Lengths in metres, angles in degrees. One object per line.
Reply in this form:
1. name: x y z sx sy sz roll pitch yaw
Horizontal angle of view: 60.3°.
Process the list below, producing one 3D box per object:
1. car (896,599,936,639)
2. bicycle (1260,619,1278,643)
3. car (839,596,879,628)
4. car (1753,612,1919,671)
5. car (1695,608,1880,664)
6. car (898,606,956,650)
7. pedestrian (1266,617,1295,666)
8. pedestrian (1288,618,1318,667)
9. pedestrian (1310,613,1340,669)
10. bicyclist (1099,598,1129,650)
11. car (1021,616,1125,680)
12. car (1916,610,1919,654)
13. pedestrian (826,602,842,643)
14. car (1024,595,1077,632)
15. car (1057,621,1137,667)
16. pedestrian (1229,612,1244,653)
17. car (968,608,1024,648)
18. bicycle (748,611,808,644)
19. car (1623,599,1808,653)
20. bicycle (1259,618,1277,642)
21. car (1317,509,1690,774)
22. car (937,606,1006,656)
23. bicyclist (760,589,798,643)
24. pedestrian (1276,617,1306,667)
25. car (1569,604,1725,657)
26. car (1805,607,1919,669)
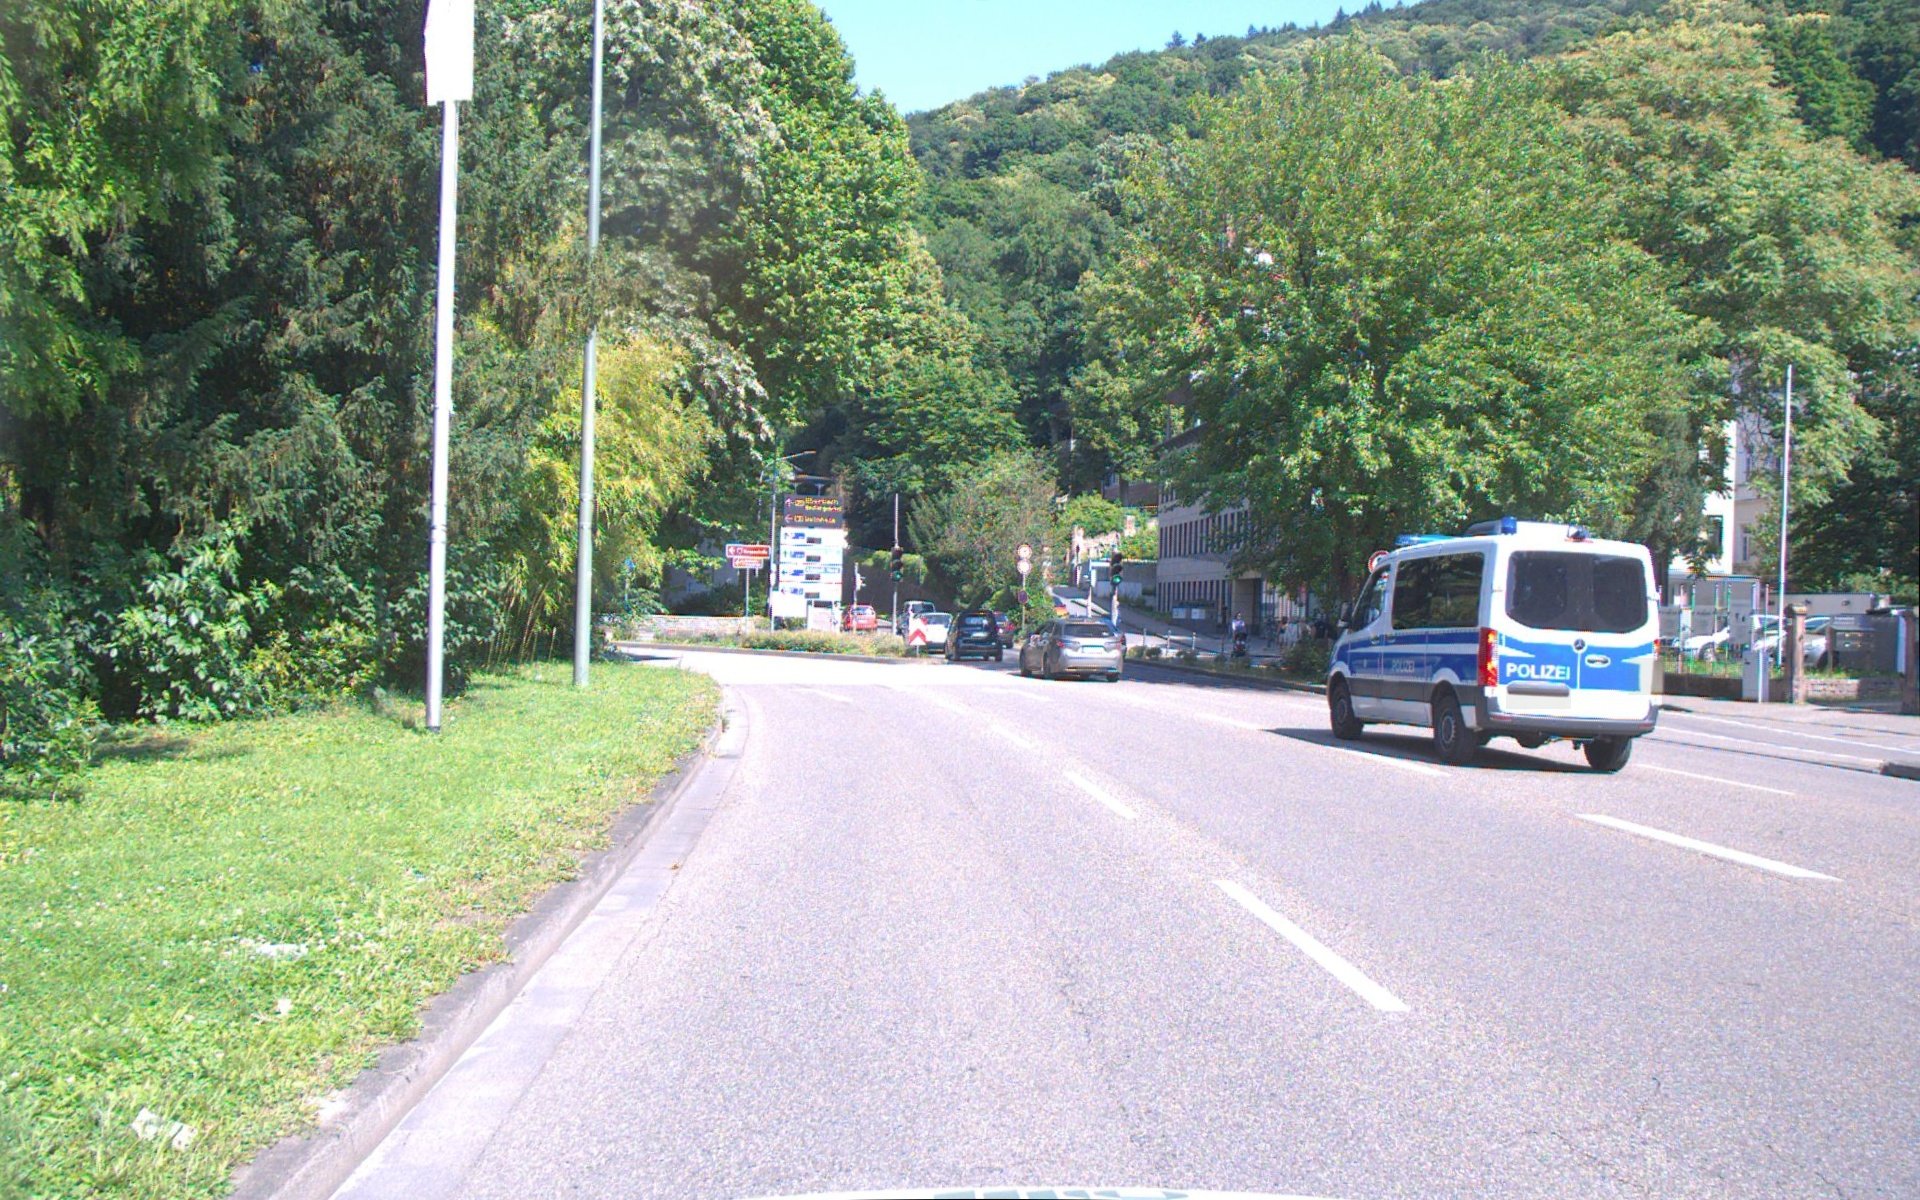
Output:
1. car: -2.316 0.976 86.533 1.723 1.972 3.488 2 0 -7
2. bicycle: 13.200 1.326 70.714 0.397 0.957 1.339 1 0 -6
3. car: -5.065 0.592 82.734 1.723 1.486 3.488 2 0 -7
4. car: 22.062 1.018 41.030 3.966 1.359 1.856 1 0 -10
5. car: 21.538 0.933 43.121 4.010 1.359 1.817 1 0 -10
6. car: -1.230 1.012 60.374 1.723 1.486 3.640 2 0 -7
7. pedestrian: 11.277 1.467 58.223 0.756 1.692 0.828 2 0 -6
8. pedestrian: 12.046 1.479 58.081 0.756 1.692 0.828 2 0 -5
9. pedestrian: 12.565 1.395 56.941 0.756 1.887 0.828 2 0 -7
10. bicyclist: 5.893 0.913 63.151 1.102 1.966 0.749 1 -1 6
11. car: 2.623 1.111 39.287 1.723 1.357 3.795 2 0 -7
12. car: 31.588 1.028 50.454 3.966 1.359 1.817 1 0 -10
13. pedestrian: -5.044 0.904 66.405 0.535 1.649 0.634 1 0 2
14. car: 4.396 0.673 81.118 1.894 1.727 3.994 1 -1 -7
15. car: 4.146 1.317 50.393 1.723 1.234 3.488 2 0 -7
16. pedestrian: 10.137 1.175 60.651 0.478 1.483 0.735 1 -1 12
17. car: 1.435 1.124 67.264 1.723 1.486 3.640 2 0 -7
18. bicycle: -6.669 1.005 60.551 2.033 1.132 0.757 2 0 18
19. car: 20.802 0.711 45.599 4.384 1.359 1.817 1 0 -10
20. bicycle: 13.500 1.313 72.557 0.397 1.030 1.339 1 0 -6
21. car: 5.910 0.438 18.754 2.034 2.552 4.920 2 -1 -8
22. car: 0.343 0.962 52.803 1.723 1.486 3.488 2 0 -7
23. bicyclist: -6.624 0.587 60.554 1.102 1.966 0.748 1 -1 18
24. pedestrian: 11.446 1.450 57.201 0.756 1.692 0.828 2 0 -6
25. car: 20.923 0.924 50.425 4.069 1.501 1.872 1 0 -12
26. car: 22.229 0.900 38.717 3.966 1.359 1.987 1 0 -9
